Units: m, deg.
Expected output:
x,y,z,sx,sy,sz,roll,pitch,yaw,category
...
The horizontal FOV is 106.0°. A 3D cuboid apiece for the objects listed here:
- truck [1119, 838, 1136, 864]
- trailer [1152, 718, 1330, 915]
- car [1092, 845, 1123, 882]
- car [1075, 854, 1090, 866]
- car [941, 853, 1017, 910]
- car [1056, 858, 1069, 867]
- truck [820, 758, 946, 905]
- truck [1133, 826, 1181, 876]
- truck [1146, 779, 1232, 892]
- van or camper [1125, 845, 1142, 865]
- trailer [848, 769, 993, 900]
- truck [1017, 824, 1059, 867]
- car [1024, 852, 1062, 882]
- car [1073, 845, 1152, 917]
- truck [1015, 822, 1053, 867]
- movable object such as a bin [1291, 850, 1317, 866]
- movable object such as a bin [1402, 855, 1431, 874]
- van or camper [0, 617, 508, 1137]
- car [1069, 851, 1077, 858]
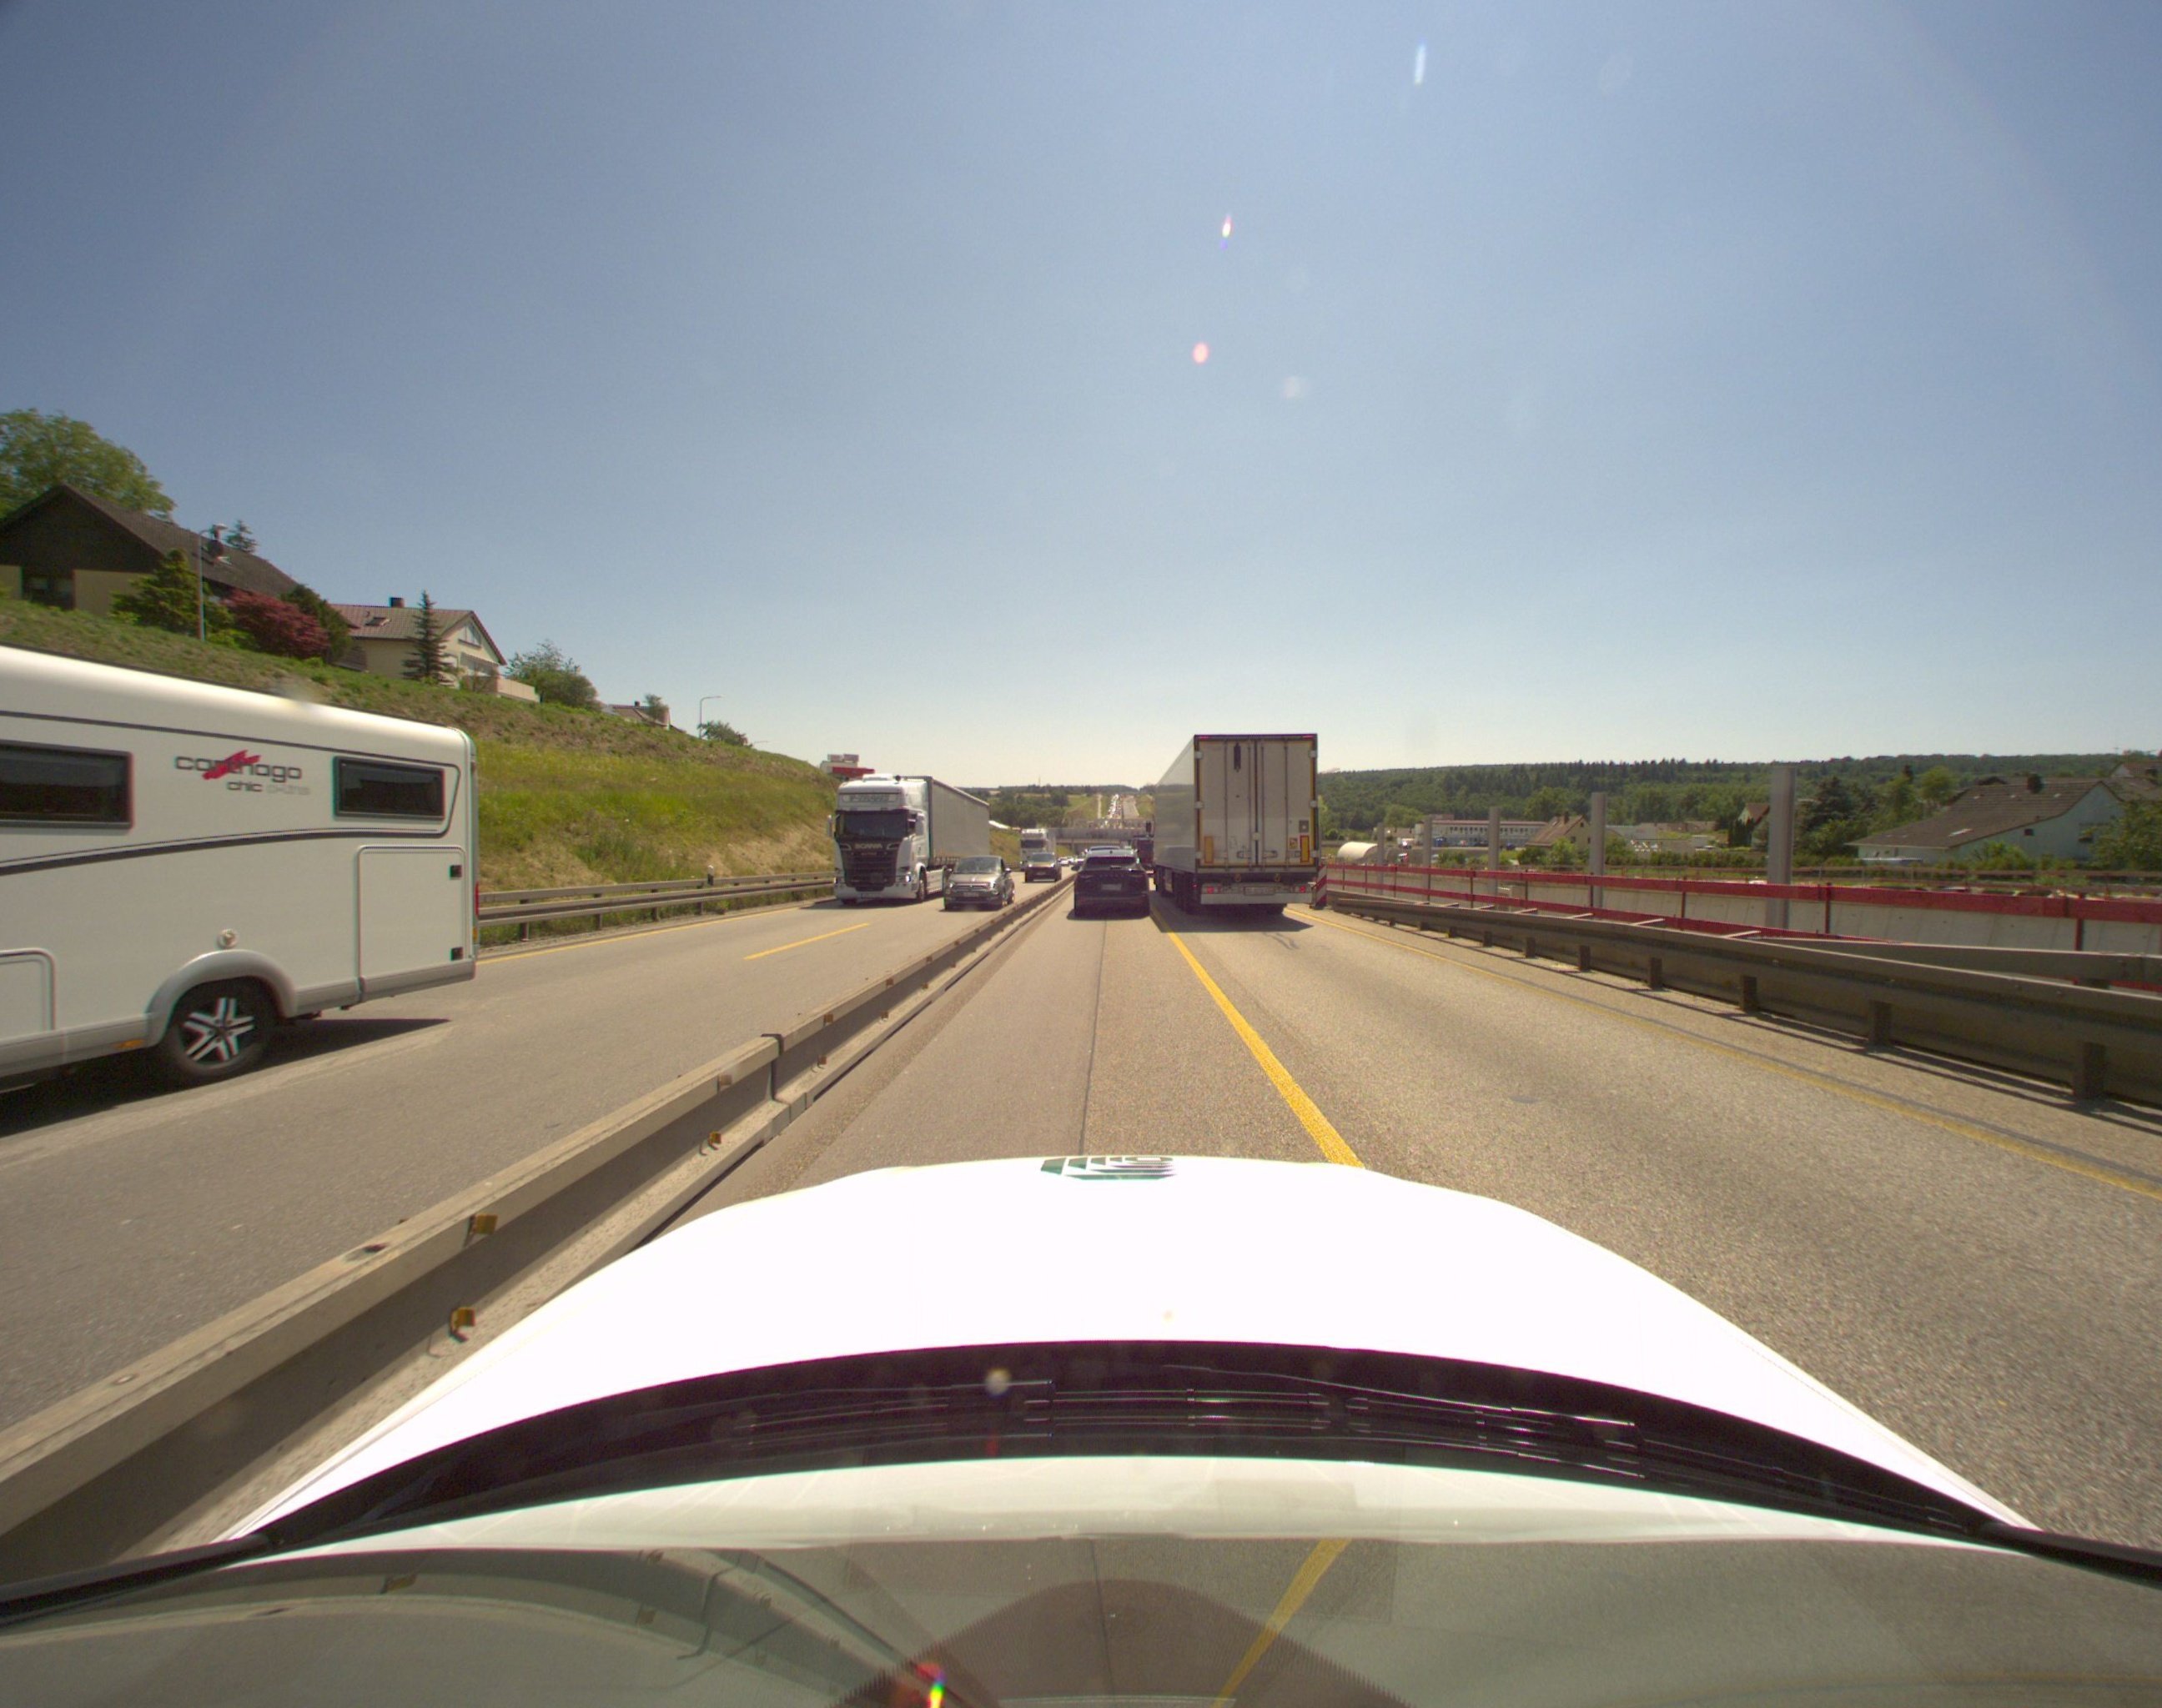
x,y,z,sx,sy,sz,roll,pitch,yaw,category
7.364,-0.417,129.935,2.508,3.959,7.602,1,0,2,truck
3.926,-0.714,23.974,2.791,4.058,14.120,-1,-1,1,trailer
1.361,0.441,41.104,1.468,1.795,3.301,0,0,4,car
0.181,0.794,113.040,1.805,1.638,4.365,-1,0,3,car
-2.814,0.719,23.038,1.623,1.479,3.381,0,0,1,car
-2.787,1.273,120.985,1.695,1.378,3.968,0,0,1,car
-6.194,-0.654,26.171,2.764,4.286,4.678,0,0,1,truck
5.188,-0.134,57.793,2.802,3.135,12.846,-1,0,3,truck
4.110,-0.643,31.910,2.766,4.058,4.905,-1,-1,1,truck
6.222,0.118,96.772,1.985,2.244,4.003,1,0,2,van or camper
-6.005,-0.649,33.623,2.800,4.286,14.039,0,0,2,trailer
-4.311,-0.832,85.855,3.231,4.160,13.983,-1,0,2,truck
-2.056,0.667,45.160,1.842,1.586,4.175,0,0,1,car
0.789,0.612,20.320,1.793,1.620,3.299,-1,0,2,car
-4.500,-0.871,78.628,3.227,4.160,4.249,-1,0,1,truck
43.826,0.770,160.213,2.876,2.909,9.485,0,0,3,movable object such as a bin
40.865,1.304,99.281,1.985,2.239,4.155,0,0,3,movable object such as a bin
-6.937,0.134,4.286,2.326,2.777,7.519,-1,0,2,van or camper
-1.727,0.182,175.791,1.642,1.416,3.999,-1,0,0,car
